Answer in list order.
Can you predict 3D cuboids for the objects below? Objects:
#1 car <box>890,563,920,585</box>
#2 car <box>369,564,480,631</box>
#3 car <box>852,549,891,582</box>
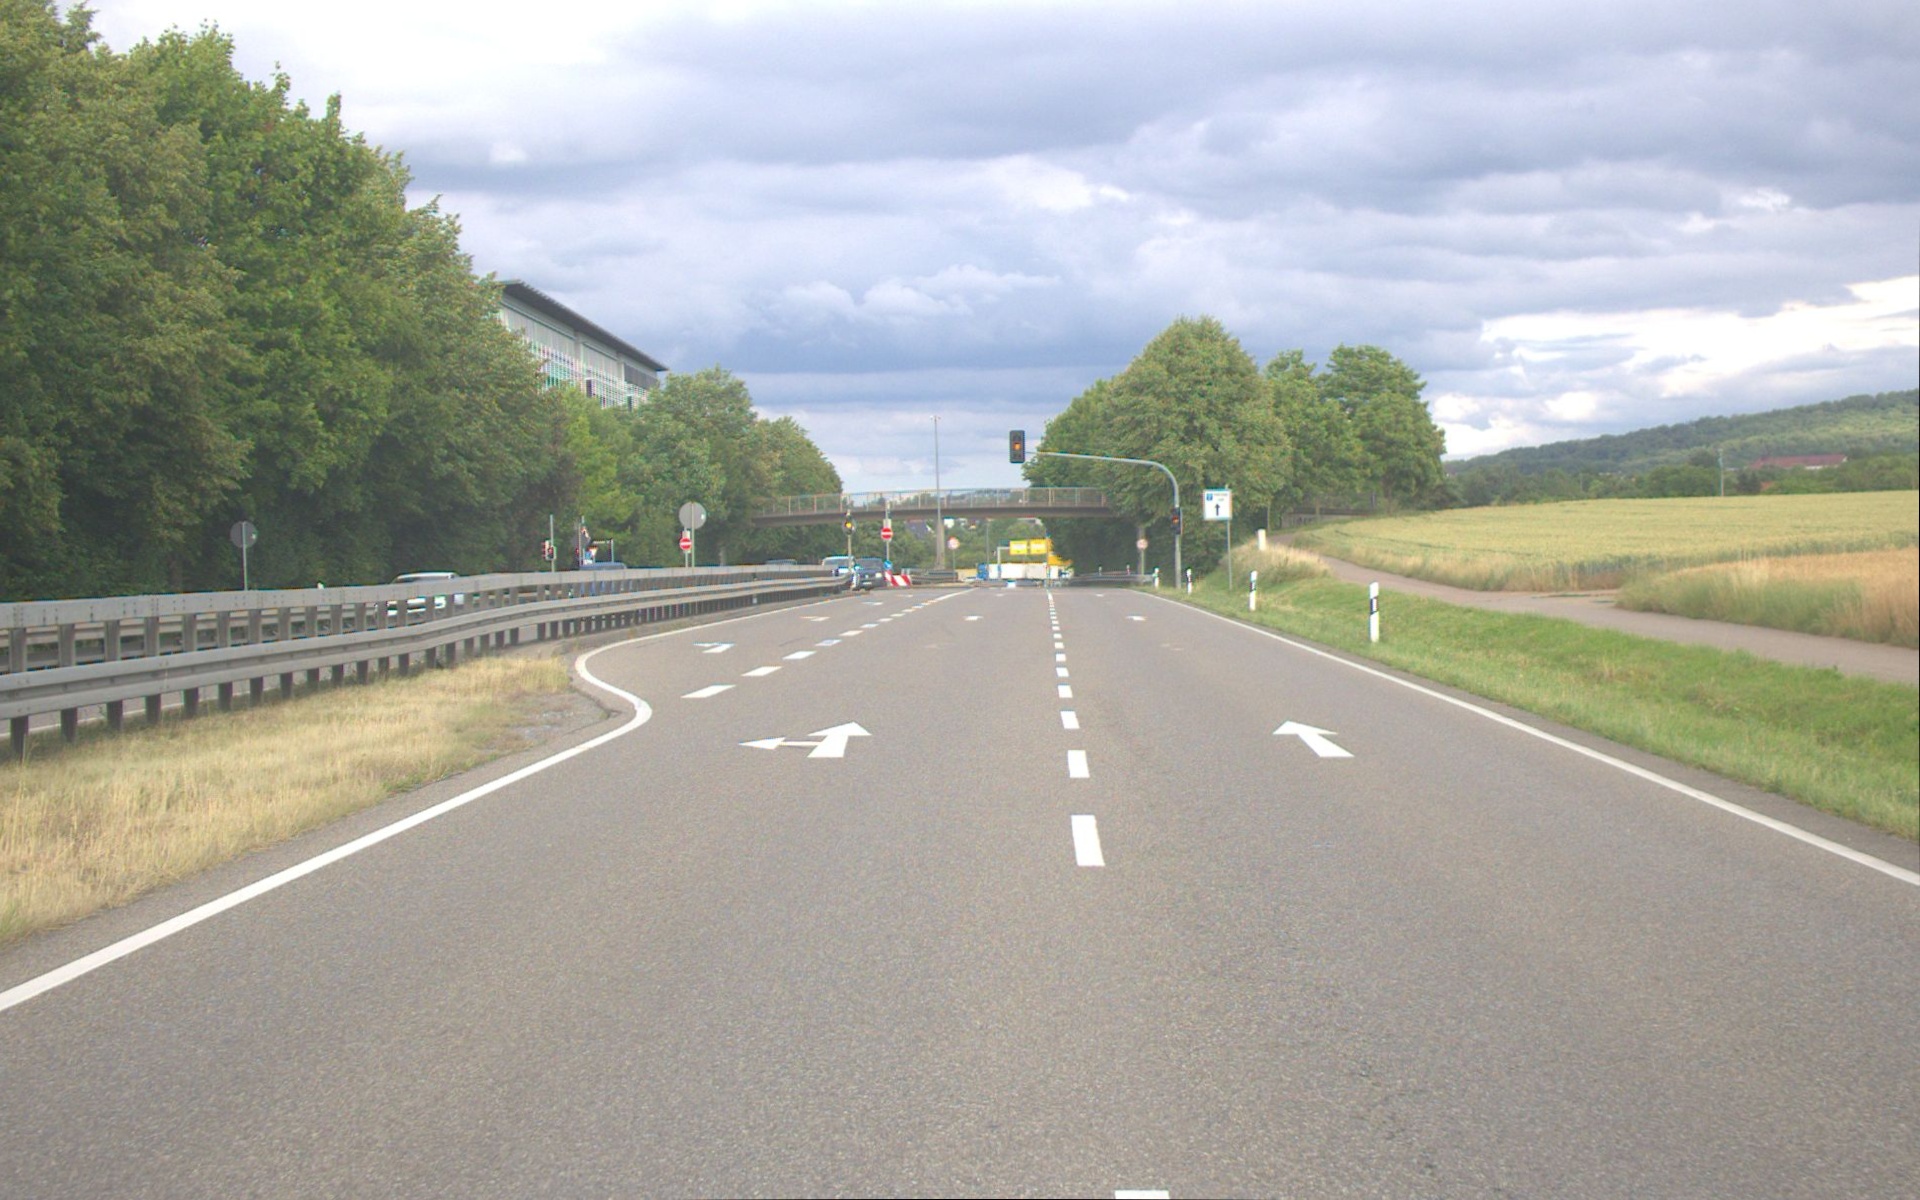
[{"bbox_3d":[-2.815,-1.324,175.338,1.358,1.088,2.921,-1,1,2],"label":"car"},{"bbox_3d":[-12.280,-0.083,79.068,1.759,1.408,4.459,-1,1,1],"label":"car"},{"bbox_3d":[-5.167,-2.023,200.874,1.994,1.867,4.736,-1,1,2],"label":"car"}]
